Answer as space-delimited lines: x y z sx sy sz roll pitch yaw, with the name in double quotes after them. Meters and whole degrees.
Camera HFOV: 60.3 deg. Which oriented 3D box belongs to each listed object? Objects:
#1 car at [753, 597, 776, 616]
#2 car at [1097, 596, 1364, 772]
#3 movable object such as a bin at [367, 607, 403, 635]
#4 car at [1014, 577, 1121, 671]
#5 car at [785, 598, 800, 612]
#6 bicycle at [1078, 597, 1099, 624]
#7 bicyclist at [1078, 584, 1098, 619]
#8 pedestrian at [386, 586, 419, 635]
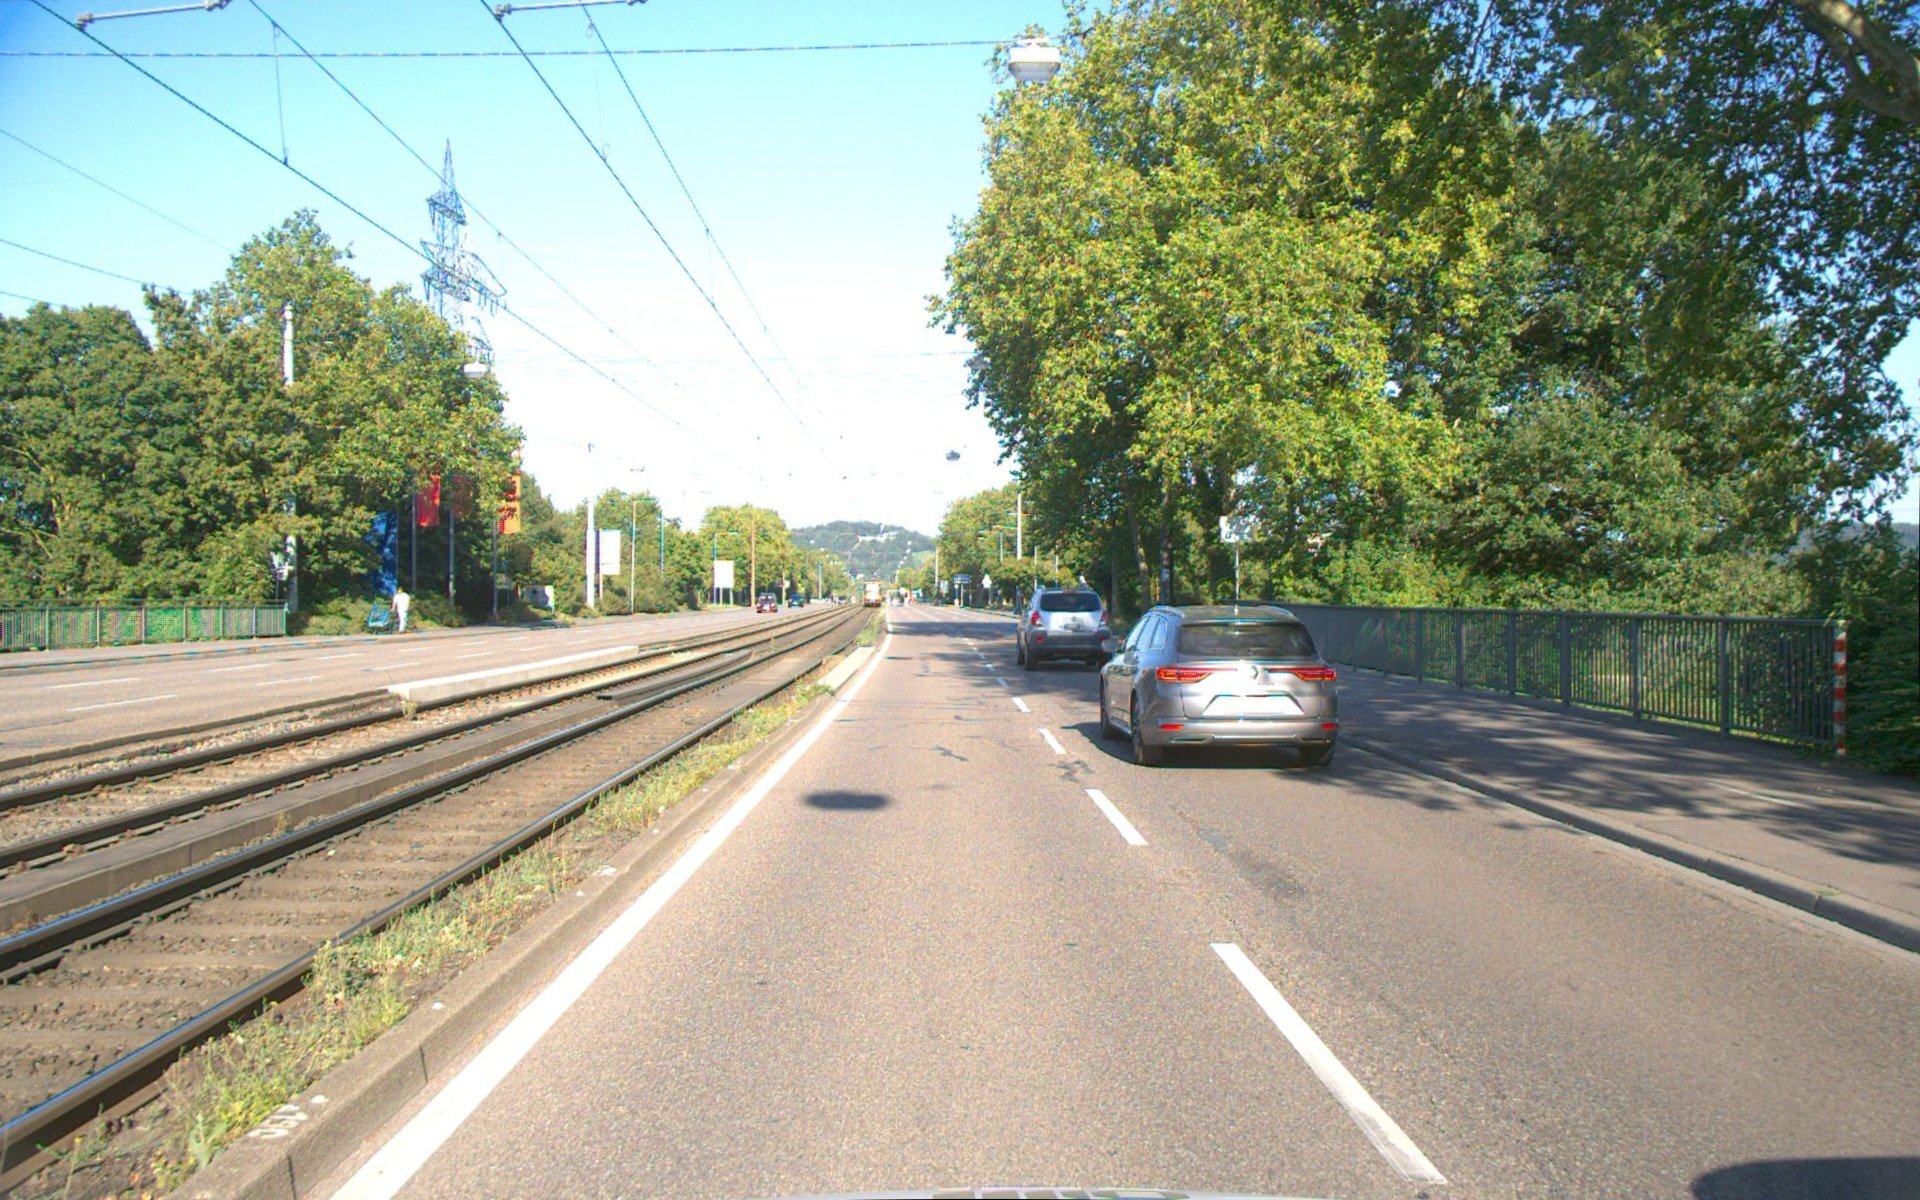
-18.441 0.599 156.245 1.825 1.750 3.999 1 1 -2 "car"
2.523 0.723 16.552 1.828 1.493 4.665 0 0 -1 "car"
-21.204 0.775 61.006 0.709 0.978 1.101 2 -1 20 "movable object such as a bin"
2.255 0.455 35.622 1.845 1.827 3.999 2 1 -2 "car"
-21.839 0.650 215.813 1.868 1.672 3.997 2 1 -4 "car"
5.613 0.439 72.317 0.778 1.113 1.895 -2 1 2 "bicycle"
5.597 0.079 72.297 0.778 1.485 1.112 -2 0 1 "bicyclist"
-20.867 0.397 61.920 0.709 1.787 0.835 2 -1 20 "pedestrian"
